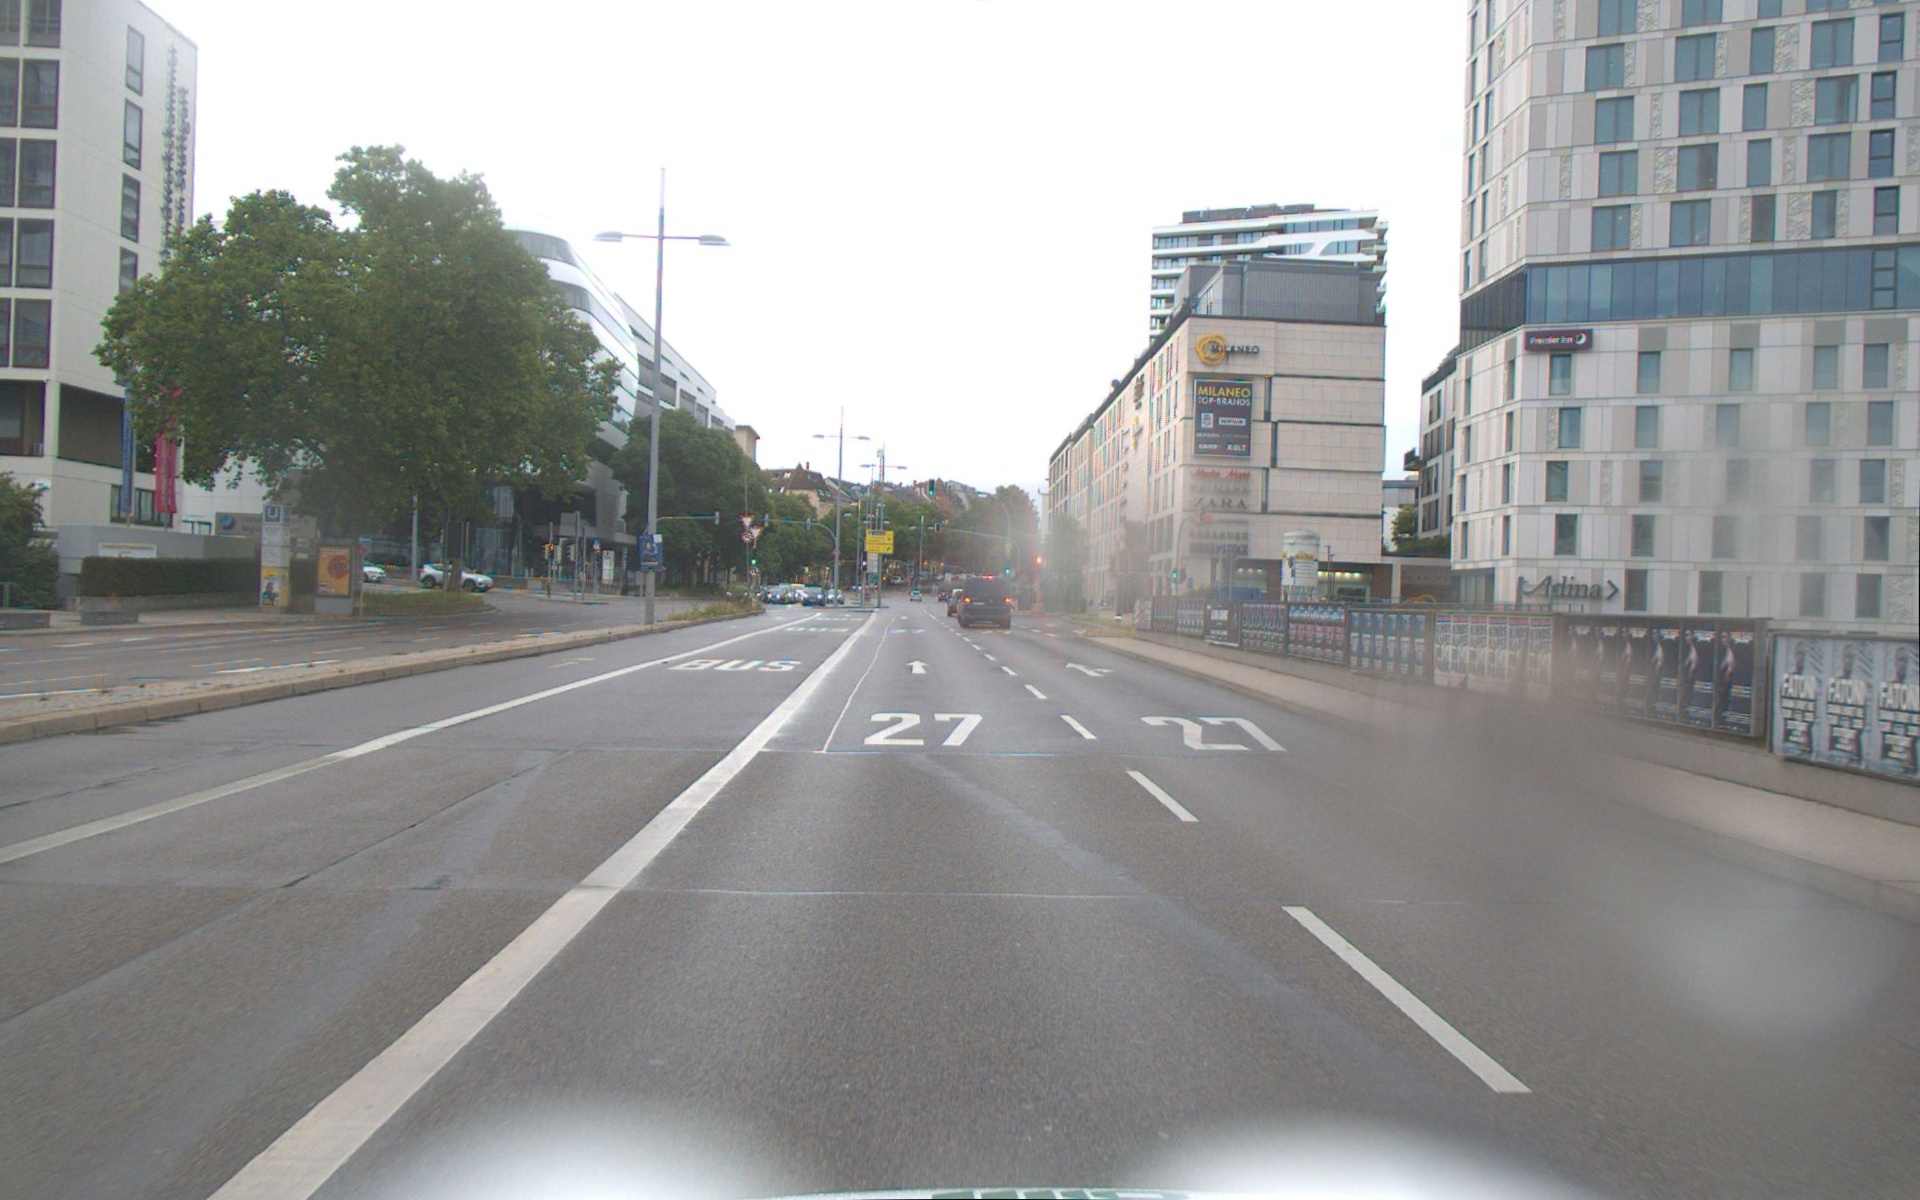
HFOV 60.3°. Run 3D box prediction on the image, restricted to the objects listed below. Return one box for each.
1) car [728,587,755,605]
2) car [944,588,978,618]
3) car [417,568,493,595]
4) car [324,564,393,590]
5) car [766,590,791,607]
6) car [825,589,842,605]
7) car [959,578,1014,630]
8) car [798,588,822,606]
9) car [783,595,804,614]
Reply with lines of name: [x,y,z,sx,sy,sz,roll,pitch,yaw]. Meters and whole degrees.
car: [-17.975,-0.307,136.221,1.708,1.352,4.224,1,-1,-2]
car: [0.030,0.164,90.144,1.705,1.558,3.812,1,-1,-2]
car: [-33.090,-1.212,108.365,4.406,1.660,1.896,1,-1,14]
car: [-40.259,-1.508,110.715,3.902,1.660,1.896,1,-1,14]
car: [-14.998,-0.144,136.594,1.708,1.279,3.538,2,0,-2]
car: [-12.536,-0.313,163.987,1.507,1.503,3.695,1,-1,-2]
car: [1.011,0.116,65.600,1.992,1.915,5.041,-2,1,-1]
car: [-12.289,-0.239,135.446,1.708,1.470,3.393,1,-1,-2]
car: [-15.808,0.412,157.474,1.708,1.779,3.538,1,-1,-2]
